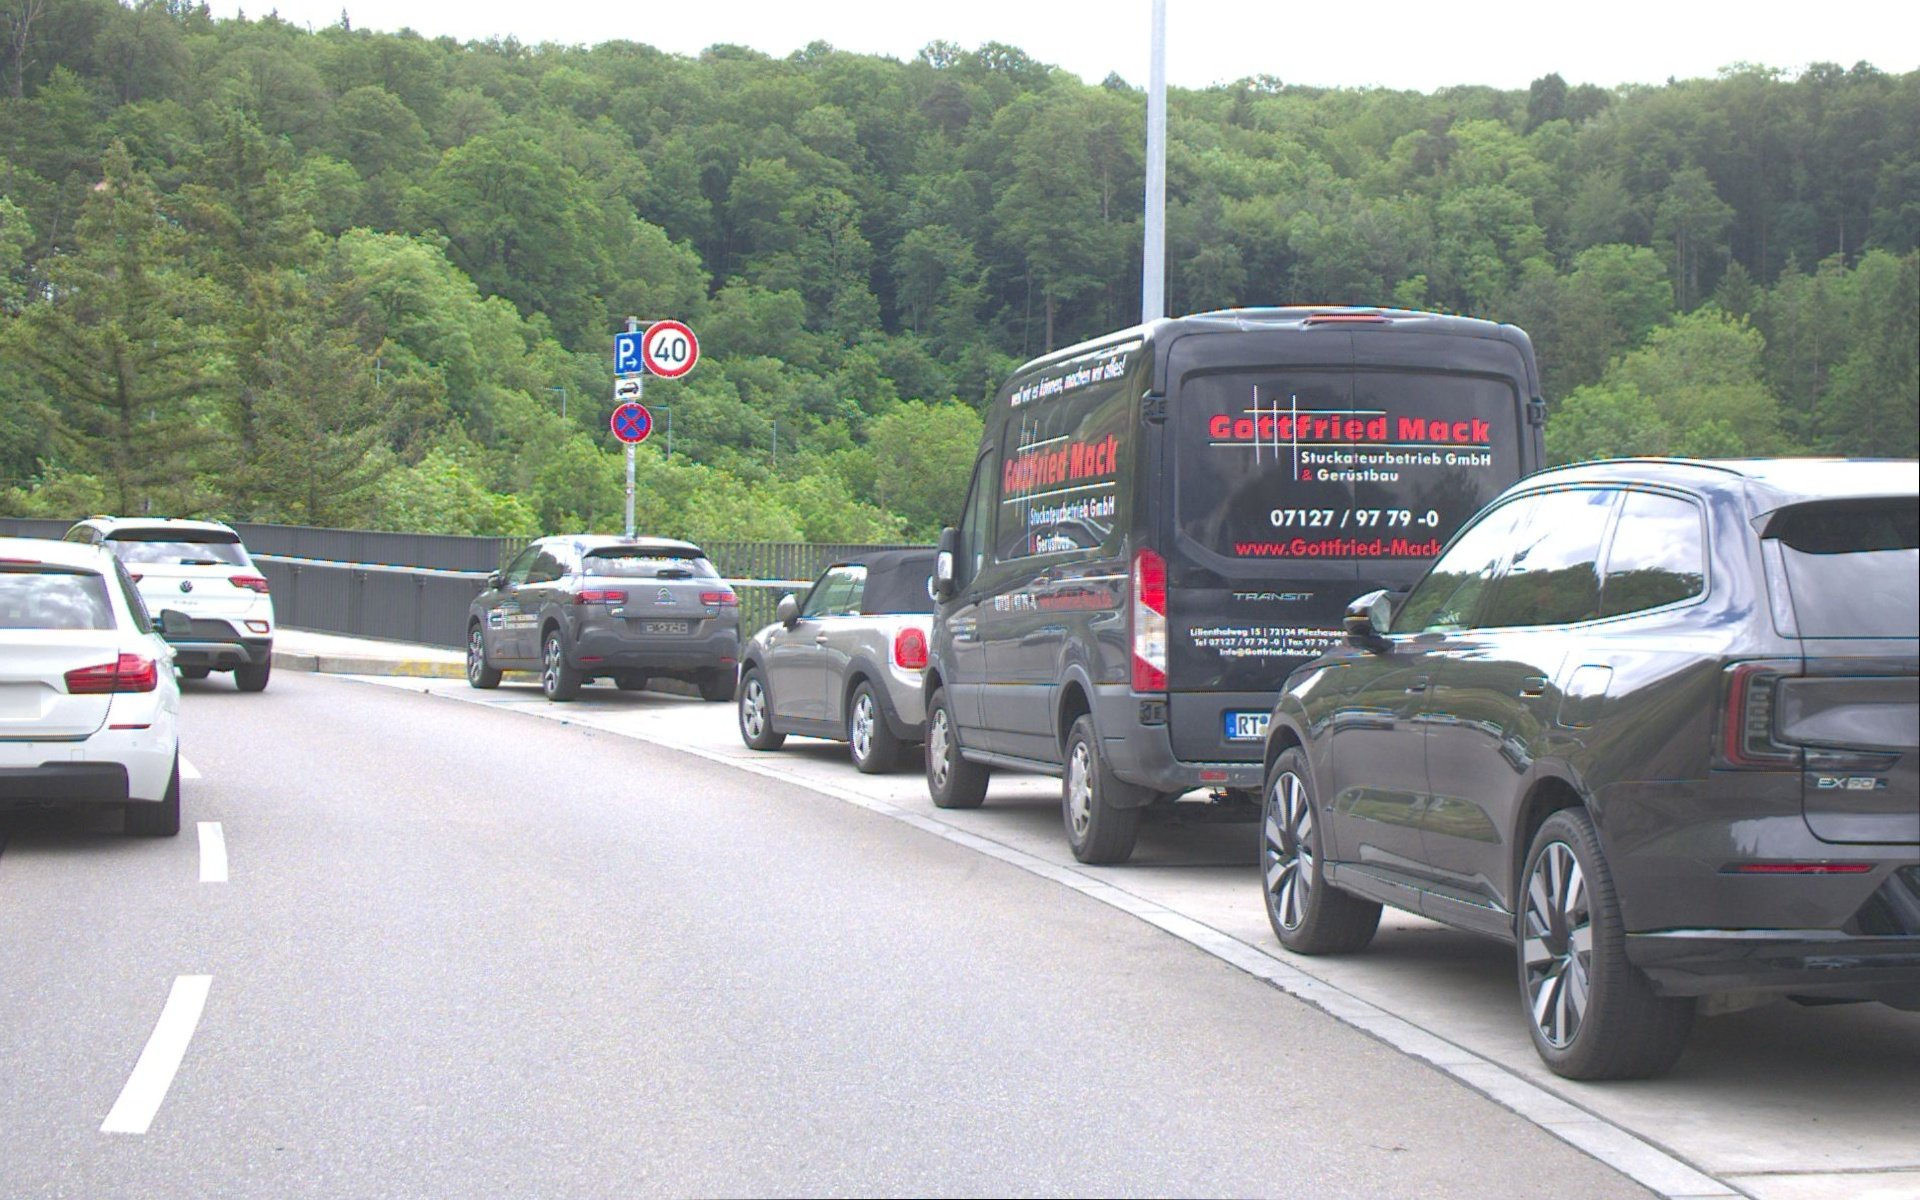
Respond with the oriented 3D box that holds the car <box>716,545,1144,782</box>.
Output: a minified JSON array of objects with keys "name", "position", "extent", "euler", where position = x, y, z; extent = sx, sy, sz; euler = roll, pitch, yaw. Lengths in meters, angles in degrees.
[{"name":"car","position":[-0.298,0.370,23.256],"extent":[1.714,1.426,3.851],"euler":[0,1,-20]}]

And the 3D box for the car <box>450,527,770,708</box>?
[{"name":"car","position":[-3.352,0.123,32.222],"extent":[1.874,1.537,4.091],"euler":[2,1,-22]}]

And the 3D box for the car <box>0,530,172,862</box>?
[{"name":"car","position":[-5.009,0.389,17.666],"extent":[1.827,1.454,4.487],"euler":[1,1,-13]}]

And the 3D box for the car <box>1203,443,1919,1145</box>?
[{"name":"car","position":[2.350,0.449,11.050],"extent":[1.993,1.712,5.050],"euler":[-1,0,-9]}]

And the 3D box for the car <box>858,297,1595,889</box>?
[{"name":"car","position":[1.104,-0.110,17.751],"extent":[2.166,2.513,5.773],"euler":[-2,2,-12]}]

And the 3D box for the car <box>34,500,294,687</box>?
[{"name":"car","position":[-7.498,-0.052,32.140],"extent":[1.827,1.600,4.001],"euler":[-2,0,-20]}]
